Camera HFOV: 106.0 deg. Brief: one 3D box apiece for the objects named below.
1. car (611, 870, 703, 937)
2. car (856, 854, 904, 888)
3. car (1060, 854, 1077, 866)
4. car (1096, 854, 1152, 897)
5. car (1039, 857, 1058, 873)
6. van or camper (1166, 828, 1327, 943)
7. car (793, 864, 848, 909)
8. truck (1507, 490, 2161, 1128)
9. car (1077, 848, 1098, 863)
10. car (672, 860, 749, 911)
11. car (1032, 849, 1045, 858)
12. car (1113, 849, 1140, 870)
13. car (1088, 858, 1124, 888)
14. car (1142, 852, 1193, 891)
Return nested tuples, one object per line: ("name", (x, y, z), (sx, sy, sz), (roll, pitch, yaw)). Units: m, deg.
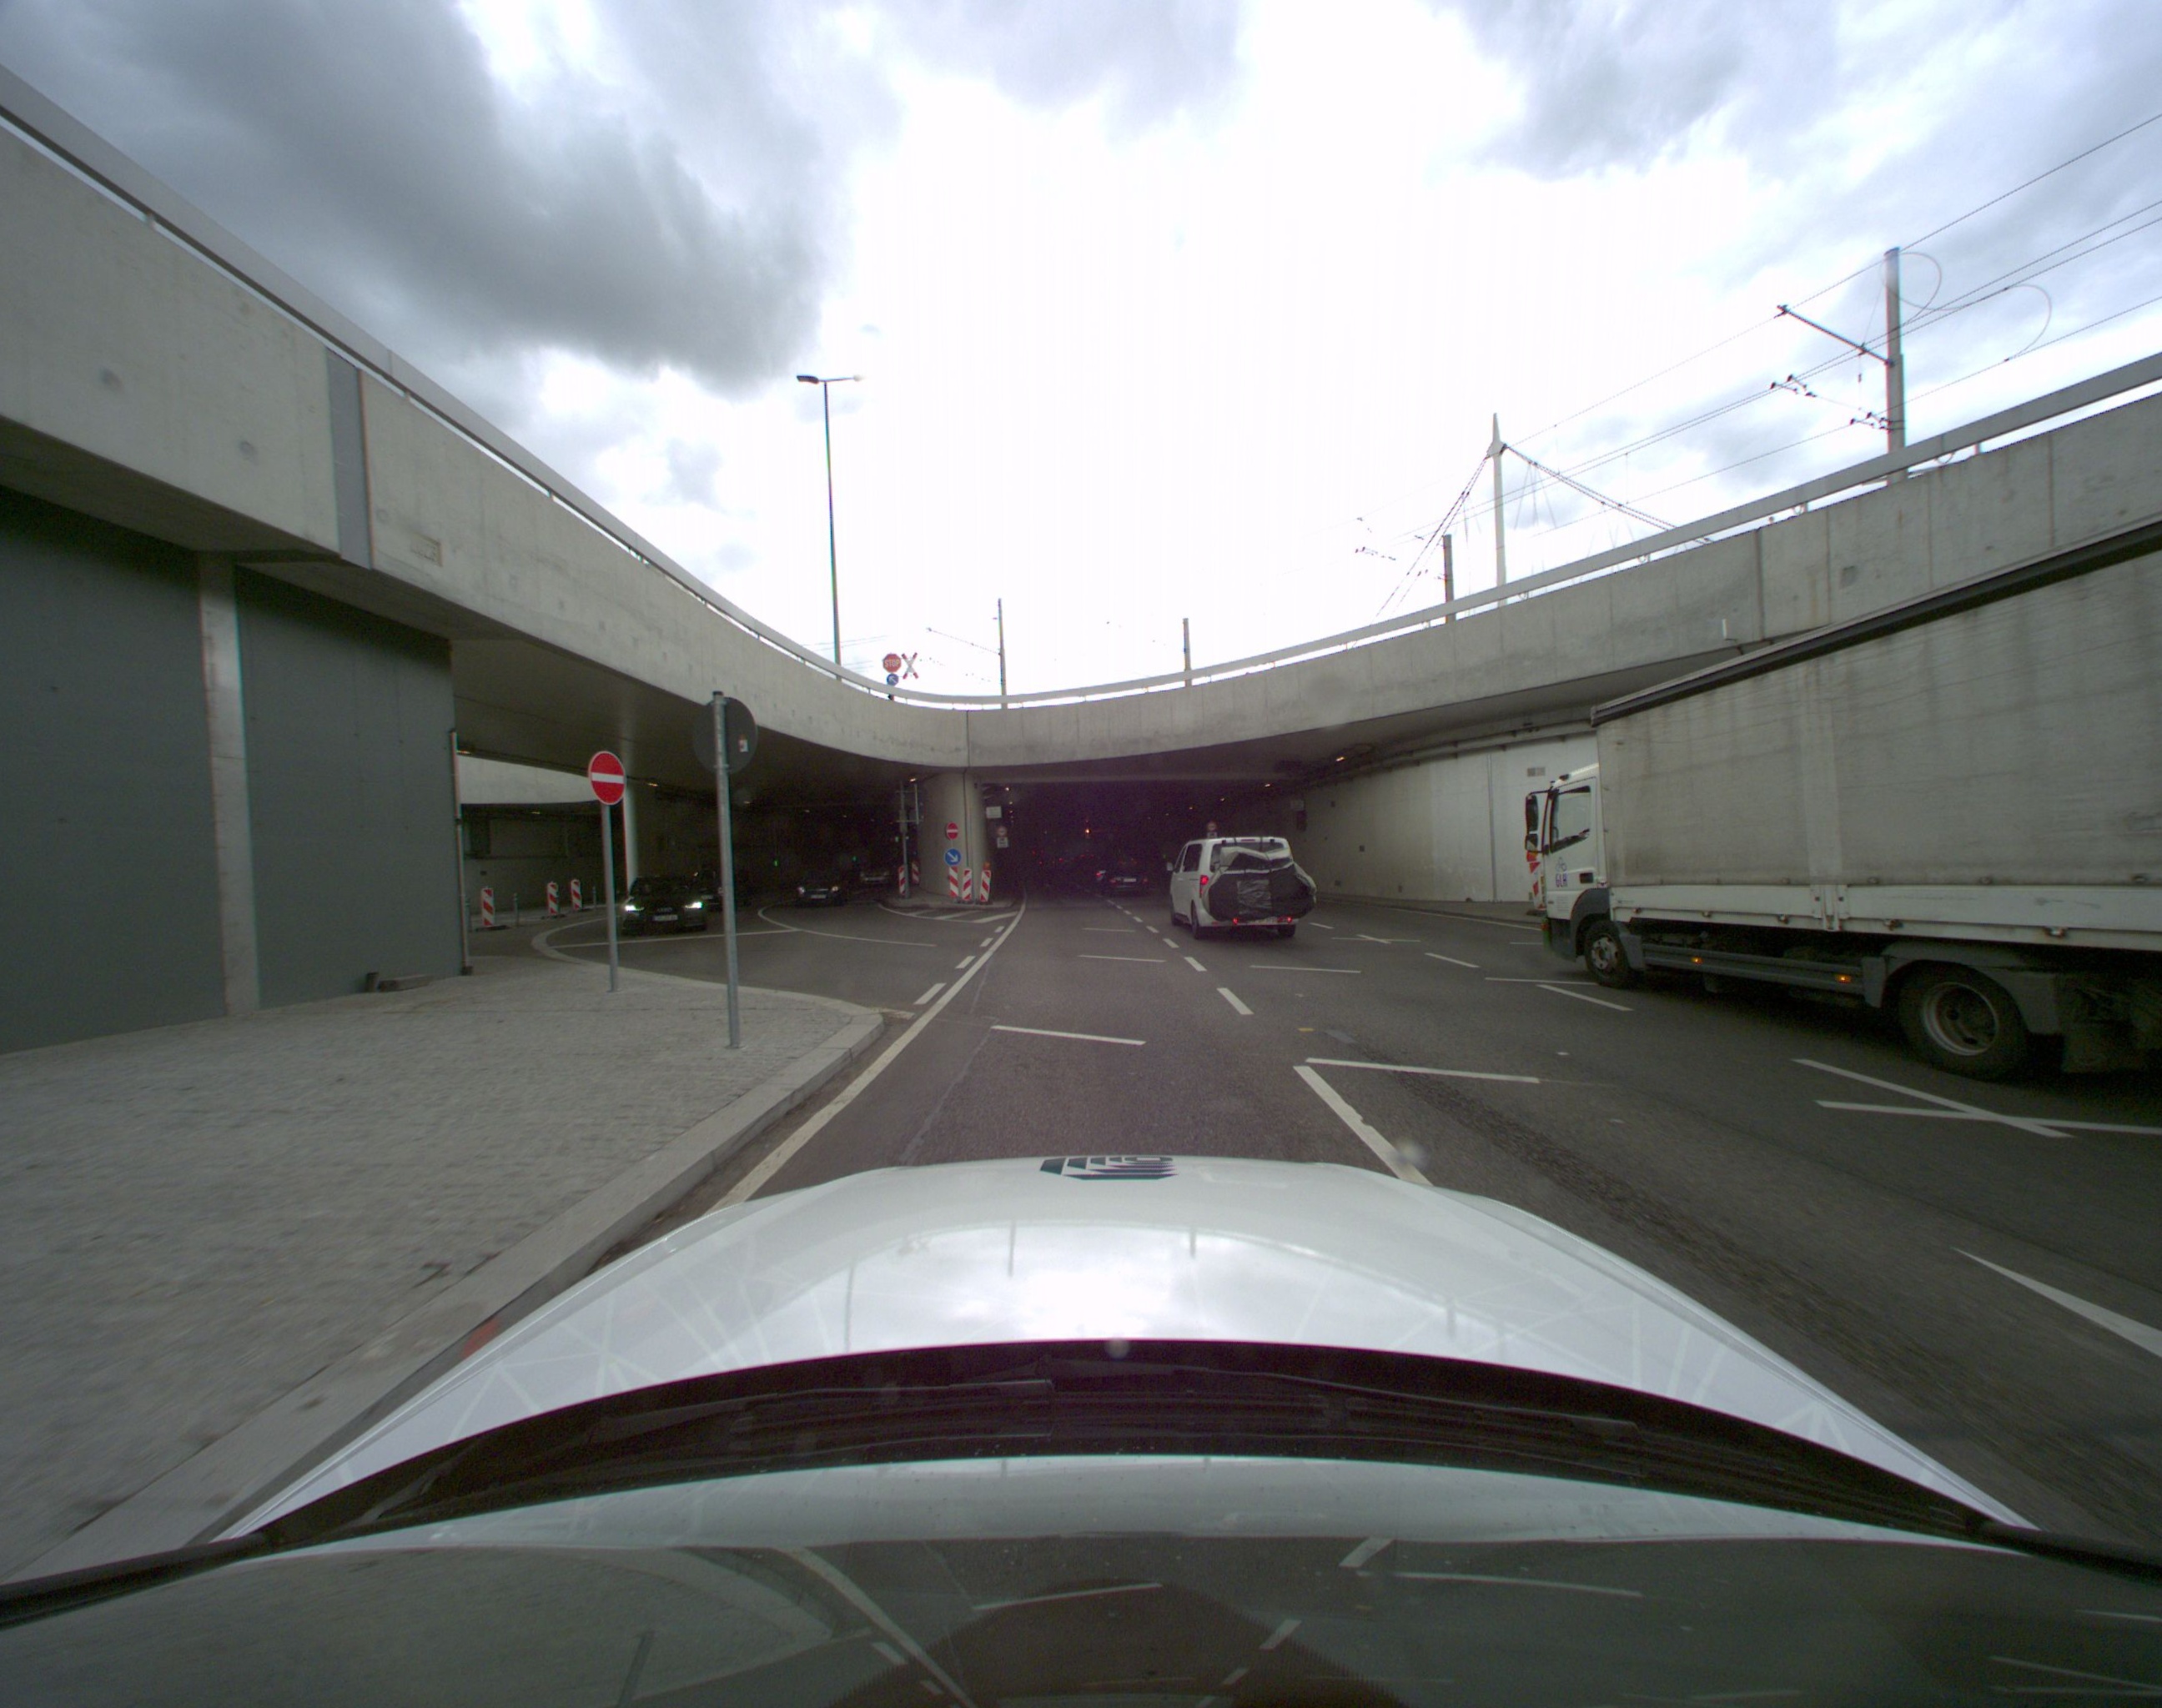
("car", (-10.843, 1.173, 21.039), (1.860, 1.443, 4.802), (-2, 0, -26))
("car", (-11.158, 0.898, 45.495), (1.805, 1.604, 4.780), (-2, 1, -5))
("car", (-1.435, 0.680, 89.801), (1.661, 1.247, 3.562), (-2, -1, -4))
("car", (1.805, 0.900, 35.083), (1.816, 1.684, 3.992), (-1, -1, -6))
("car", (-3.135, 1.033, 77.361), (1.657, 1.488, 3.562), (-2, -1, -4))
("van or camper", (2.979, 0.545, 15.991), (1.987, 1.845, 5.505), (-1, -1, -1))
("car", (-9.748, 1.151, 30.302), (1.670, 1.441, 4.084), (-2, 1, -21))
("truck", (6.766, -0.279, 6.735), (2.640, 3.185, 7.428), (-2, 0, 1))
("car", (0.728, 0.202, 97.147), (1.988, 1.676, 4.497), (-2, -1, -7))
("car", (-13.049, 1.057, 28.941), (1.797, 1.599, 4.305), (1, 0, -15))
("car", (-6.092, -0.082, 116.659), (1.508, 1.247, 3.556), (-2, 0, -9))
("car", (3.694, 0.433, 66.631), (1.657, 1.633, 3.562), (2, 1, -4))
("car", (1.416, 1.054, 47.809), (1.814, 1.580, 3.997), (2, 1, -2))
("car", (4.310, 0.844, 41.114), (1.815, 1.749, 3.994), (2, 1, -4))
